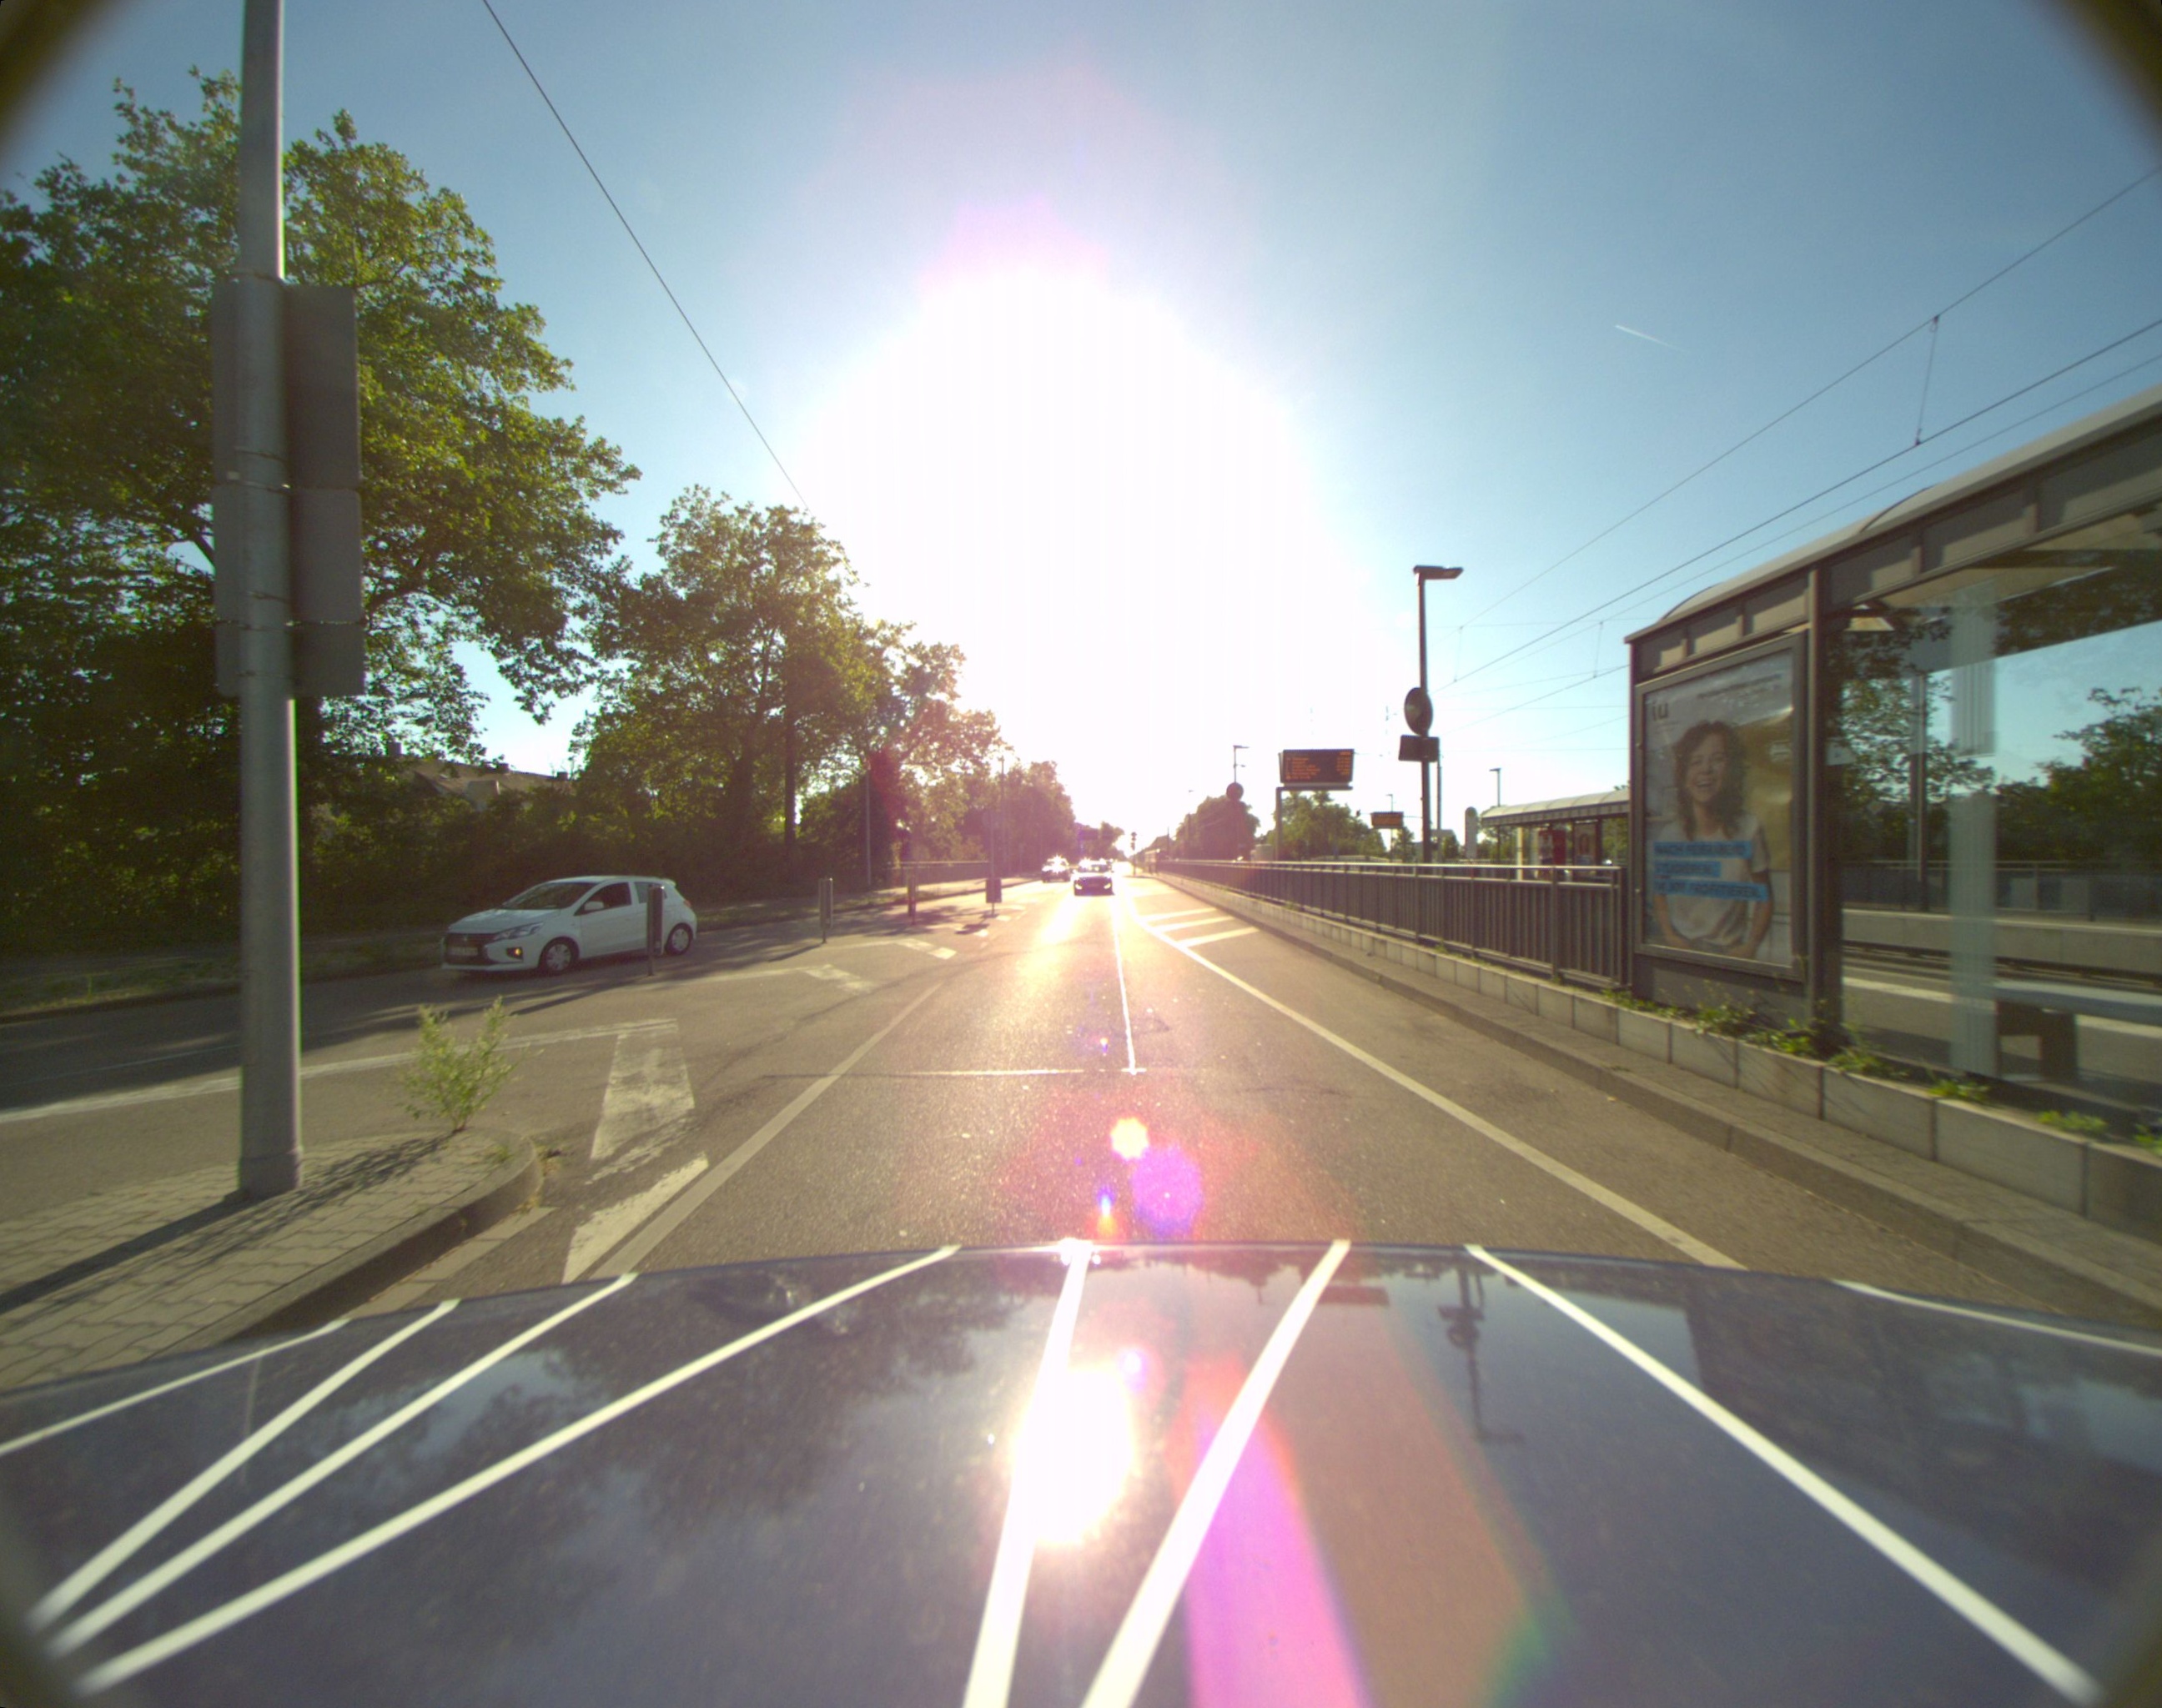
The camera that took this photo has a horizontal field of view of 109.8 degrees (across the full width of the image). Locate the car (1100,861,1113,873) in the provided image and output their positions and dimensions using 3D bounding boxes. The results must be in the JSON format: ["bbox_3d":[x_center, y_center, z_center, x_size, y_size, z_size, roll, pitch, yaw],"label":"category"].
[{"bbox_3d":[3.488,1.785,104.026,1.783,1.586,4.001,-1,0,2],"label":"car"}]

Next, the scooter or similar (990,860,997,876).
[{"bbox_3d":[-7.137,1.126,62.198,0.427,1.267,1.083,0,0,3],"label":"scooter or similar"}]

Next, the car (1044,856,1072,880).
[{"bbox_3d":[-1.652,0.999,56.025,1.824,1.608,4.000,-1,0,2],"label":"car"}]

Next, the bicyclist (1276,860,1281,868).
[{"bbox_3d":[36.419,1.834,139.856,0.770,1.608,0.835,0,0,3],"label":"bicyclist"}]

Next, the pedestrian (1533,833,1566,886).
[{"bbox_3d":[15.737,0.171,25.521,0.588,1.746,0.700,-1,0,-17],"label":"pedestrian"}]

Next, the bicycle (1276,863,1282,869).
[{"bbox_3d":[36.438,2.192,139.965,0.632,1.121,2.529,0,0,2],"label":"bicycle"}]

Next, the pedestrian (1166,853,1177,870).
[{"bbox_3d":[8.509,0.694,71.610,0.892,1.635,0.986,0,0,-4],"label":"pedestrian"}]

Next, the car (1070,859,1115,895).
[{"bbox_3d":[0.579,1.044,34.281,1.786,1.529,4.002,0,-1,4],"label":"car"}]

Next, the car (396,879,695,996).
[{"bbox_3d":[-8.360,1.203,12.316,1.669,1.465,3.748,-1,0,14],"label":"car"}]

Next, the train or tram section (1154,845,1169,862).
[{"bbox_3d":[19.697,-0.127,186.708,2.890,3.924,12.115,-1,0,3],"label":"train or tram section"}]
